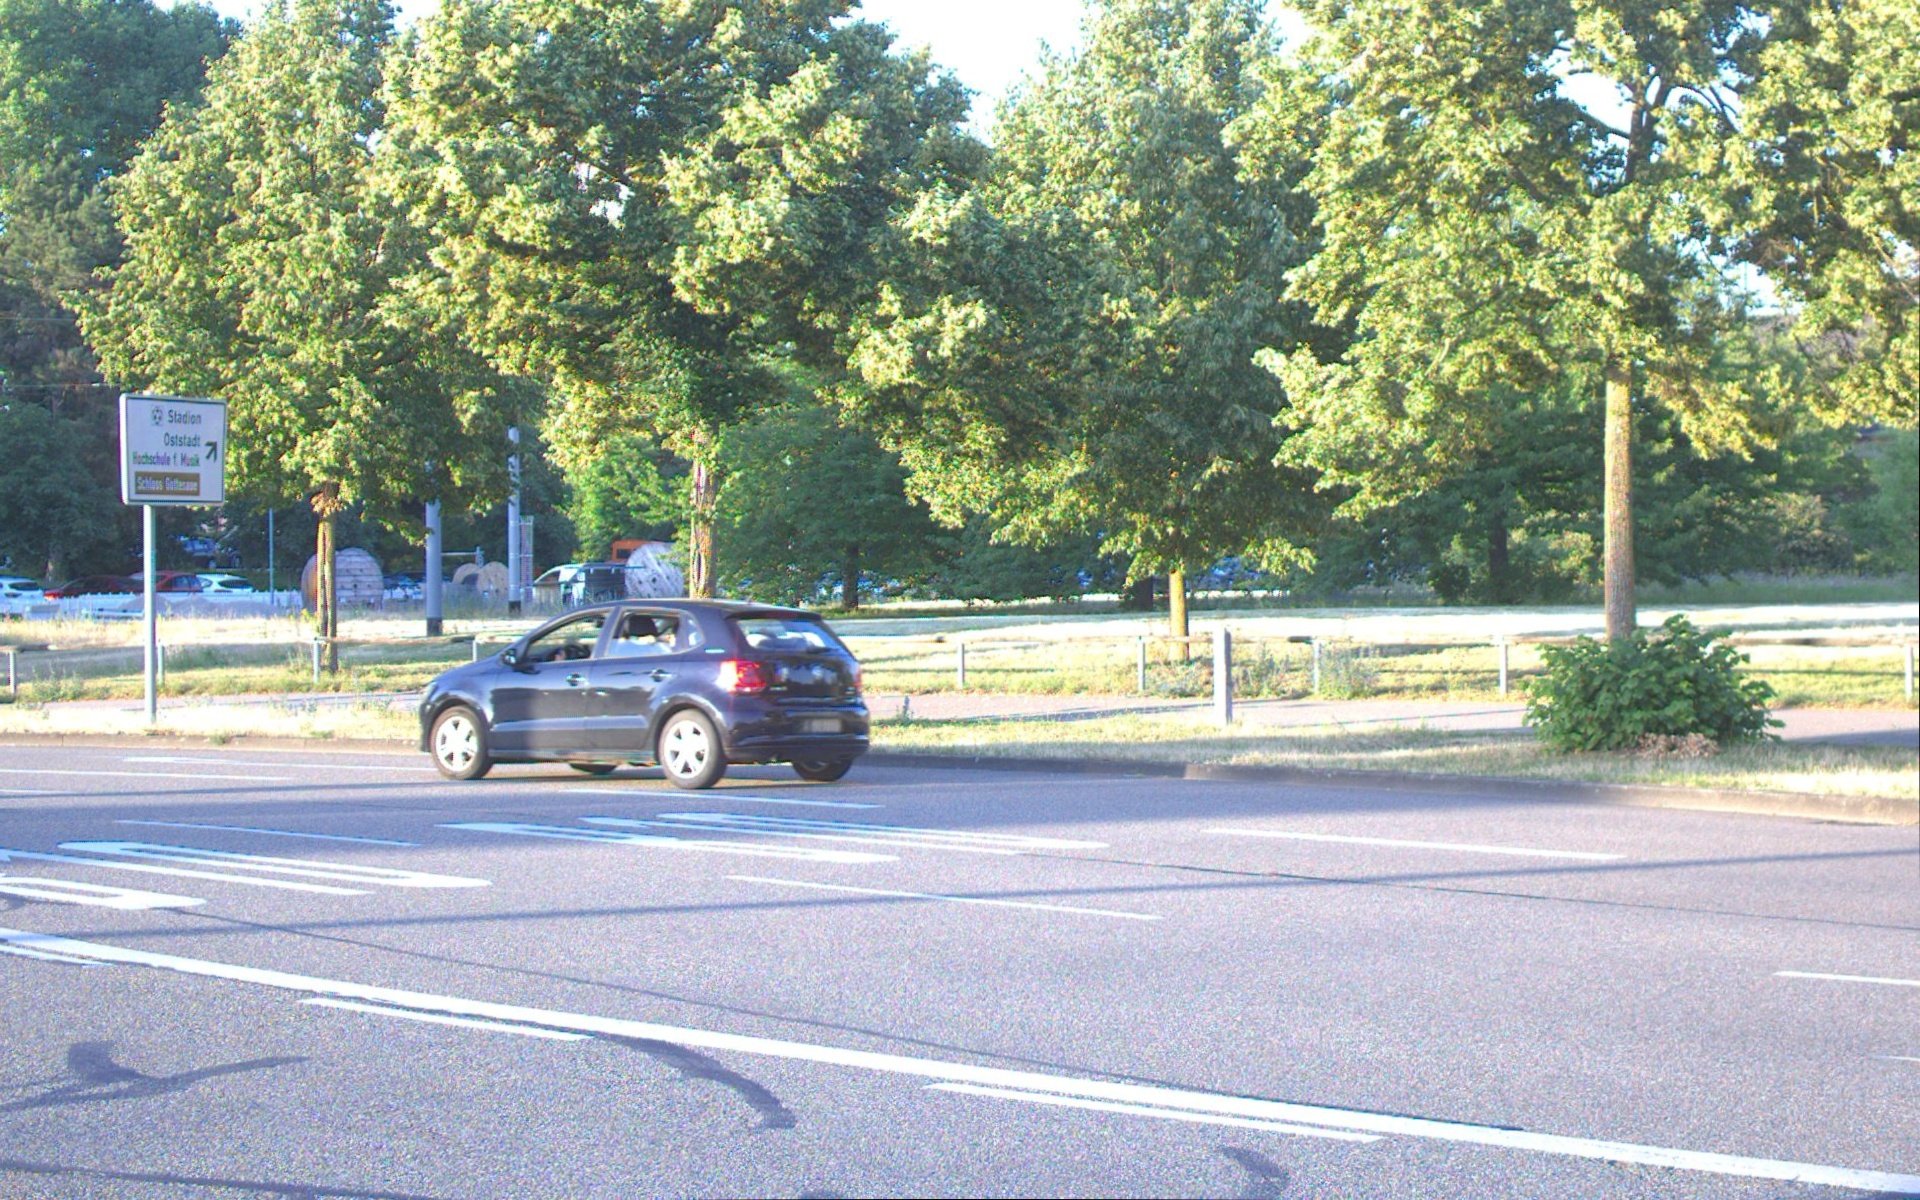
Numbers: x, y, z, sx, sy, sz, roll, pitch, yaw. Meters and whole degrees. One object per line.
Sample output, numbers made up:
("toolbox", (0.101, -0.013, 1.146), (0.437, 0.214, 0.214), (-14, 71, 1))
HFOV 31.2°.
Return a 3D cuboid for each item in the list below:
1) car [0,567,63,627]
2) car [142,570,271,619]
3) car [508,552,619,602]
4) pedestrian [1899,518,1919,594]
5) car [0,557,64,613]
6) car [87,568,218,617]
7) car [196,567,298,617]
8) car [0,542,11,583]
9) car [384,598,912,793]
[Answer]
("car", (-33.176, -0.096, 117.666), (4.582, 2.007, 2.001), (-1, 1, -9))
("car", (-25.400, -0.208, 115.817), (3.994, 1.598, 1.996), (0, 1, 33))
("car", (-13.257, -0.779, 114.877), (1.734, 1.612, 3.998), (-1, 1, -41))
("pedestrian", (20.626, -0.942, 73.133), (1.069, 1.612, 0.910), (0, 1, 2))
("car", (-35.262, -0.554, 125.799), (4.582, 2.007, 2.001), (-1, 1, -9))
("car", (-26.803, -0.264, 114.087), (3.994, 1.598, 1.996), (0, 1, 33))
("car", (-26.849, -0.324, 129.296), (1.994, 1.746, 4.597), (-1, 2, -37))
("car", (-42.444, -1.580, 145.355), (3.988, 1.700, 2.000), (0, 1, 7))
("car", (-2.458, 0.685, 26.591), (3.996, 1.349, 1.691), (0, 1, 38))
